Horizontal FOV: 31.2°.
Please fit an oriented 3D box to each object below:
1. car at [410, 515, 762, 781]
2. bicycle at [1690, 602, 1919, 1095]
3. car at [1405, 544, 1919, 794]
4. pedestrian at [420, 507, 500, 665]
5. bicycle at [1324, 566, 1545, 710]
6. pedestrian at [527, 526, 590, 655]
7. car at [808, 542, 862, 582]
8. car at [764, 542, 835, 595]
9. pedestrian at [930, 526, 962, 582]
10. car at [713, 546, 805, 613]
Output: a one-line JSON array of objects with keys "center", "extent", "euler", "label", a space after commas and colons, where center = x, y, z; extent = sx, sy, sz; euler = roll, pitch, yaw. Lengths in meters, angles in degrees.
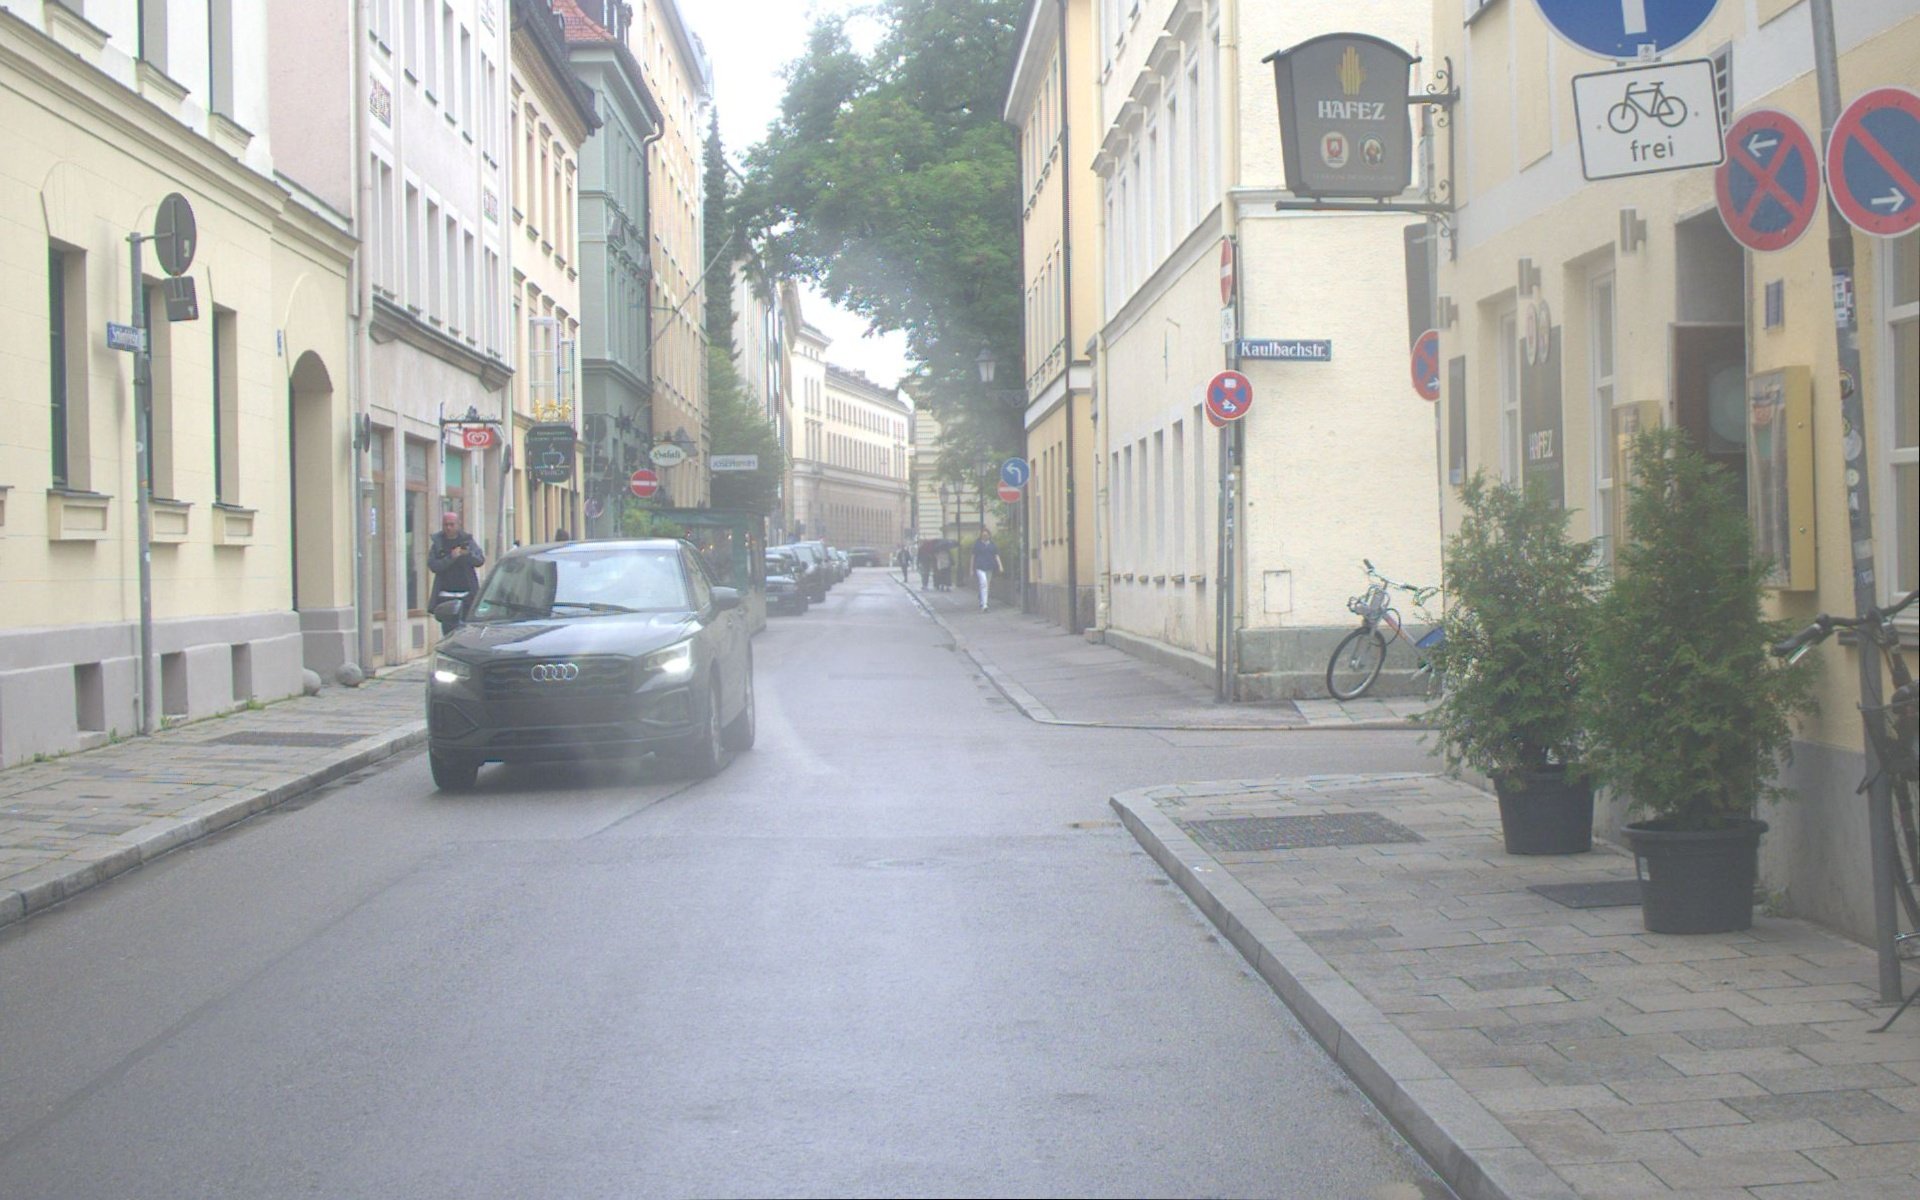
[{"center": [-2.362, 0.252, 22.635], "extent": [1.812, 1.588, 4.000], "euler": [0, 1, 1], "label": "car"}, {"center": [2.430, 0.602, 9.150], "extent": [0.565, 1.133, 1.684], "euler": [-3, 1, 0], "label": "bicycle"}, {"center": [4.939, 0.411, 21.767], "extent": [4.015, 1.436, 1.765], "euler": [0, 3, 1], "label": "car"}, {"center": [-5.652, -0.167, 38.879], "extent": [0.809, 1.749, 0.990], "euler": [0, 2, -3], "label": "pedestrian"}, {"center": [3.981, 0.311, 28.889], "extent": [1.757, 1.140, 0.586], "euler": [-1, 3, -1], "label": "bicycle"}, {"center": [-5.347, -0.130, 45.789], "extent": [0.765, 1.702, 0.785], "euler": [-1, 1, -3], "label": "pedestrian"}, {"center": [-4.648, -1.414, 128.004], "extent": [1.779, 1.461, 3.542], "euler": [1, 1, 1], "label": "car"}, {"center": [-4.572, -0.911, 98.274], "extent": [1.779, 1.461, 3.542], "euler": [1, 1, 1], "label": "car"}, {"center": [-0.473, -1.503, 112.390], "extent": [1.015, 1.796, 1.349], "euler": [1, 1, 0], "label": "pedestrian"}, {"center": [-4.565, -0.489, 78.454], "extent": [1.779, 1.461, 3.663], "euler": [1, 1, 1], "label": "car"}]
